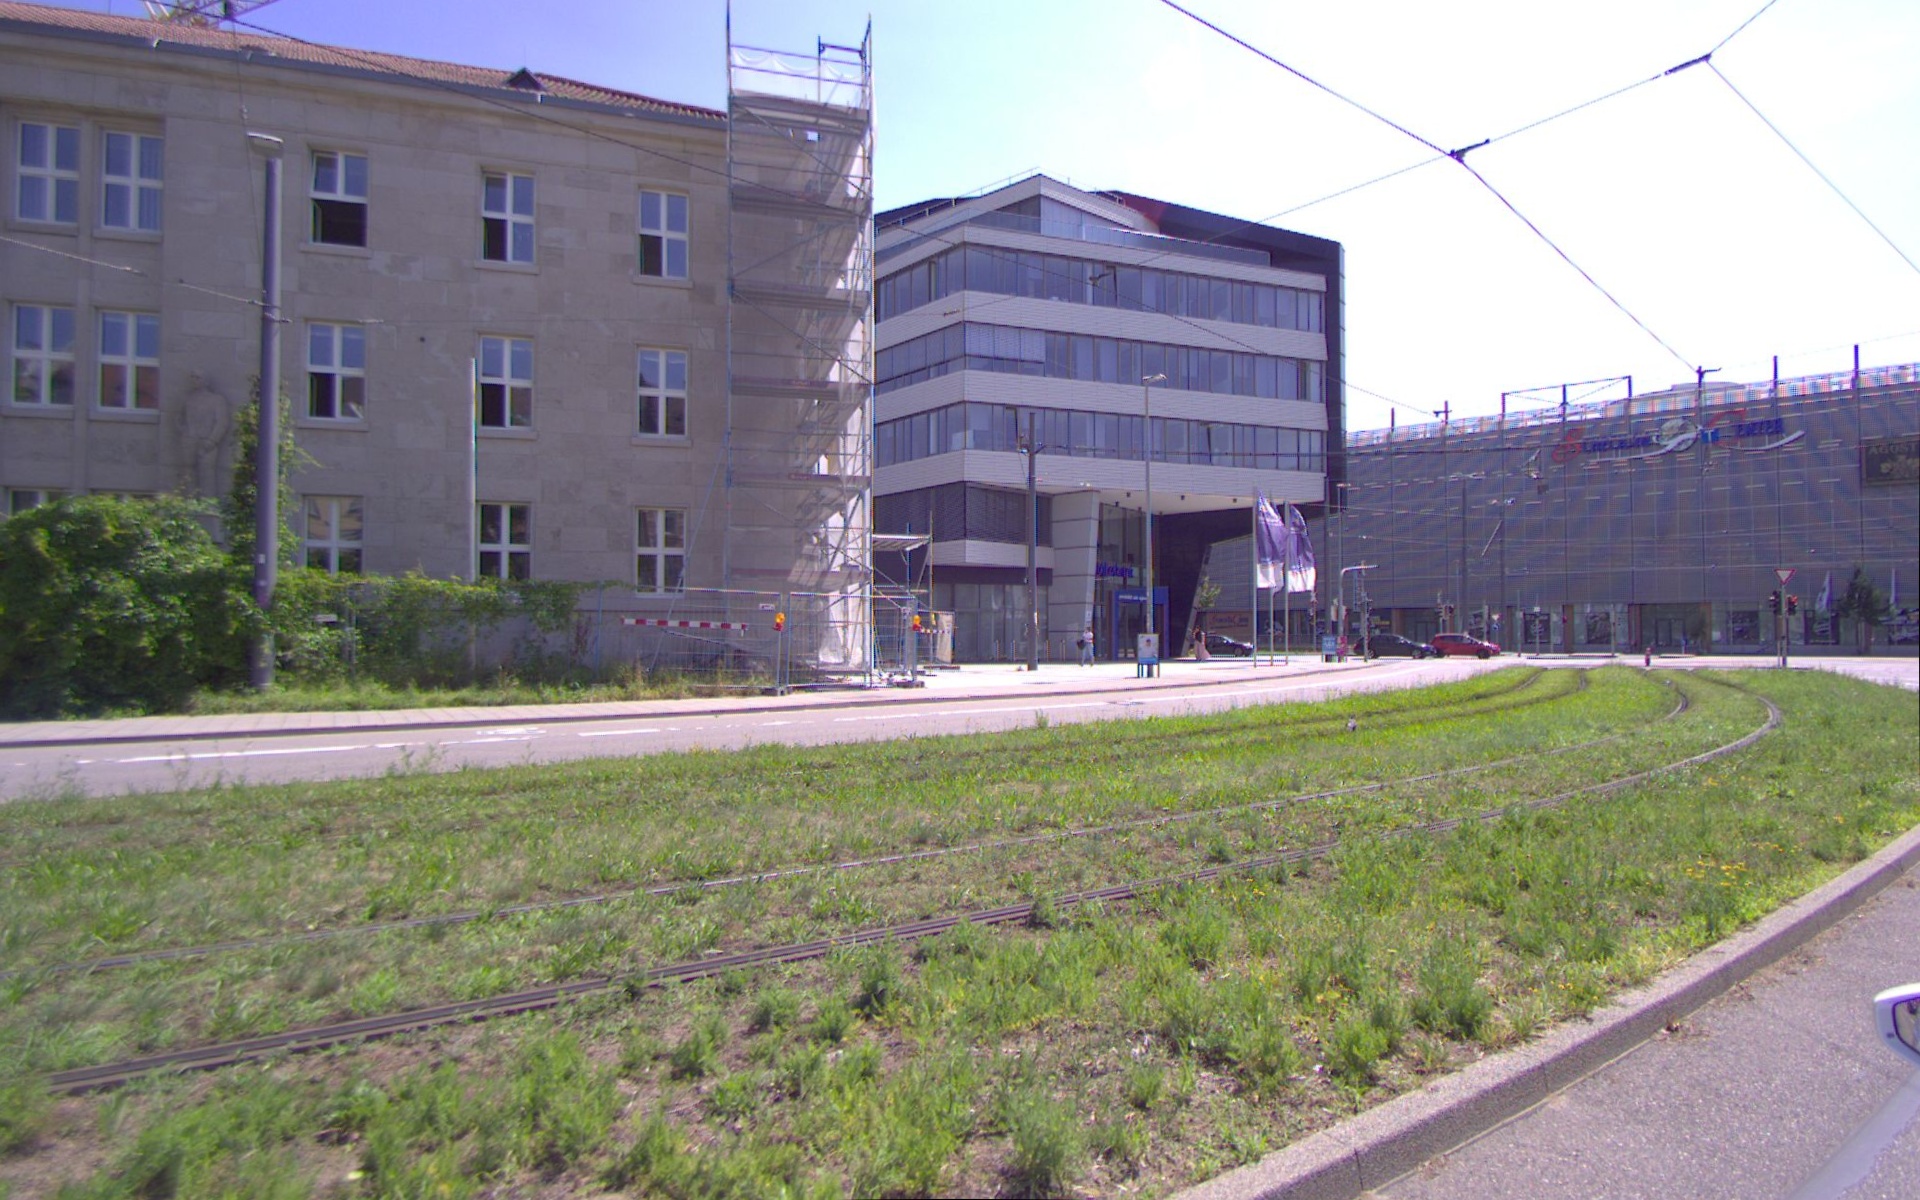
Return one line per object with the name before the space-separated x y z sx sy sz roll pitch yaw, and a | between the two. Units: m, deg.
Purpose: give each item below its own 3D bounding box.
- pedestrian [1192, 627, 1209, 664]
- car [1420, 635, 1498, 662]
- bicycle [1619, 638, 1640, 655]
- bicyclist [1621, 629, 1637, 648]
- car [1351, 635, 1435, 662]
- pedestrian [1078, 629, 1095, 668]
pedestrian | 10.899 2.063 45.584 0.734 1.652 0.916 0 -1 12
car | 30.261 2.911 60.918 4.069 1.528 1.837 0 -1 33
bicycle | 57.471 4.003 86.225 1.050 1.408 3.006 -1 -1 43
bicyclist | 57.252 3.319 85.993 1.028 1.592 0.773 0 -1 43
car | 26.002 2.929 60.366 4.460 1.528 1.839 -2 -2 30
pedestrian | 4.977 1.898 39.447 0.578 1.538 0.581 0 -1 -2
